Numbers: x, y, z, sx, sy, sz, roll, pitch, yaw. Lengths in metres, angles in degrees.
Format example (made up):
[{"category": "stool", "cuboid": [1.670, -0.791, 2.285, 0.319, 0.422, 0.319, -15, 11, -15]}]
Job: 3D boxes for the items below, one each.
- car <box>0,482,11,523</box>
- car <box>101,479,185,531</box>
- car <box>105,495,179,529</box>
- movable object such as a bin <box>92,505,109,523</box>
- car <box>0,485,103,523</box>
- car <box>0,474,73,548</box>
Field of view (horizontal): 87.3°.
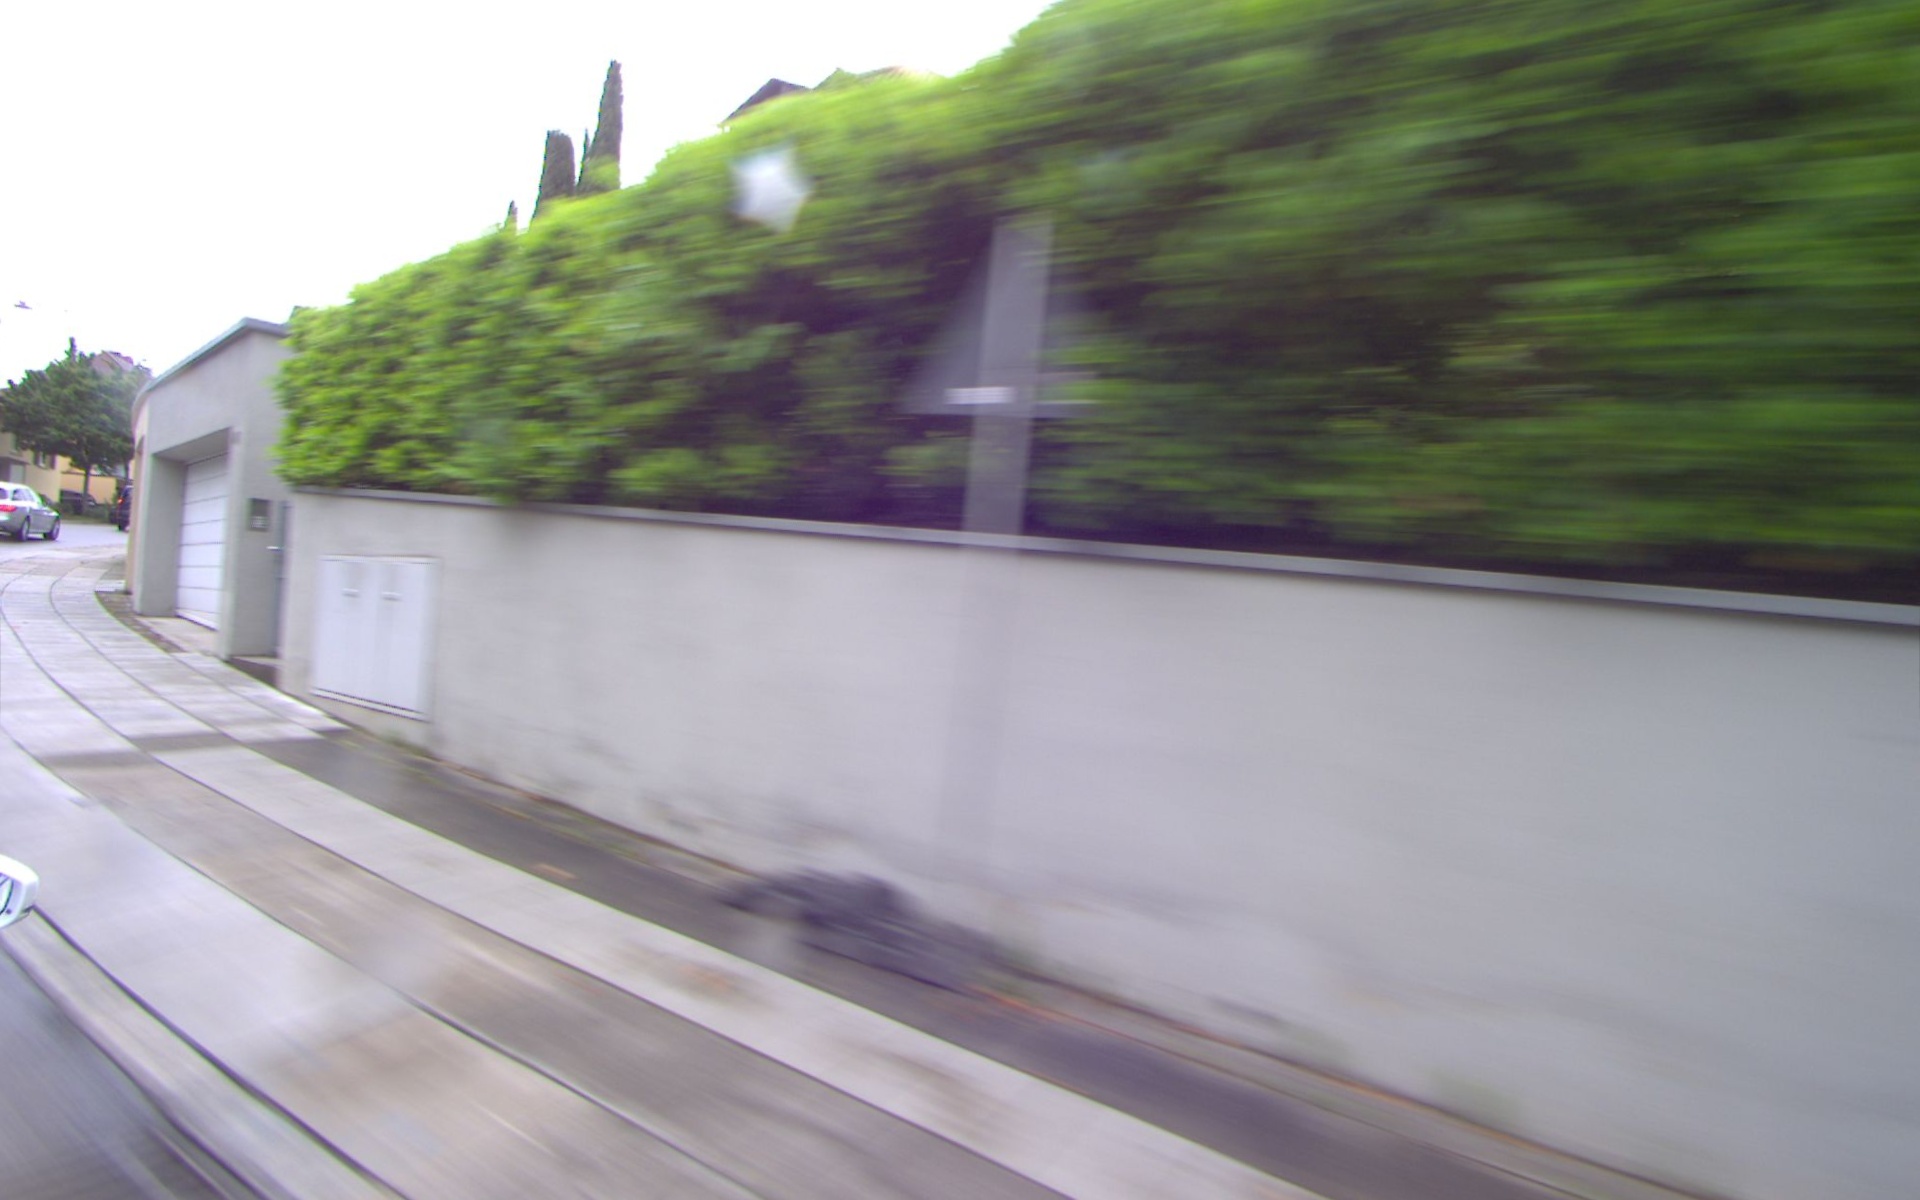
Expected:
[{"category": "car", "cuboid": [-36.089, -3.661, 36.111, 1.664, 1.491, 3.843, 4, 1, -24]}, {"category": "car", "cuboid": [-33.798, -3.934, 41.738, 1.718, 1.792, 4.203, 7, 3, -27]}, {"category": "car", "cuboid": [-43.103, -4.590, 53.121, 1.749, 1.556, 4.578, 3, 2, -23]}, {"category": "movable object such as a bin", "cuboid": [-53.287, -5.337, 62.366, 0.581, 1.037, 0.582, 5, 2, -23]}, {"category": "car", "cuboid": [-53.695, -5.660, 59.543, 4.007, 1.667, 1.854, 5, 1, -21]}, {"category": "car", "cuboid": [-25.563, -2.446, 26.768, 1.960, 1.656, 4.200, 7, 2, -29]}]
